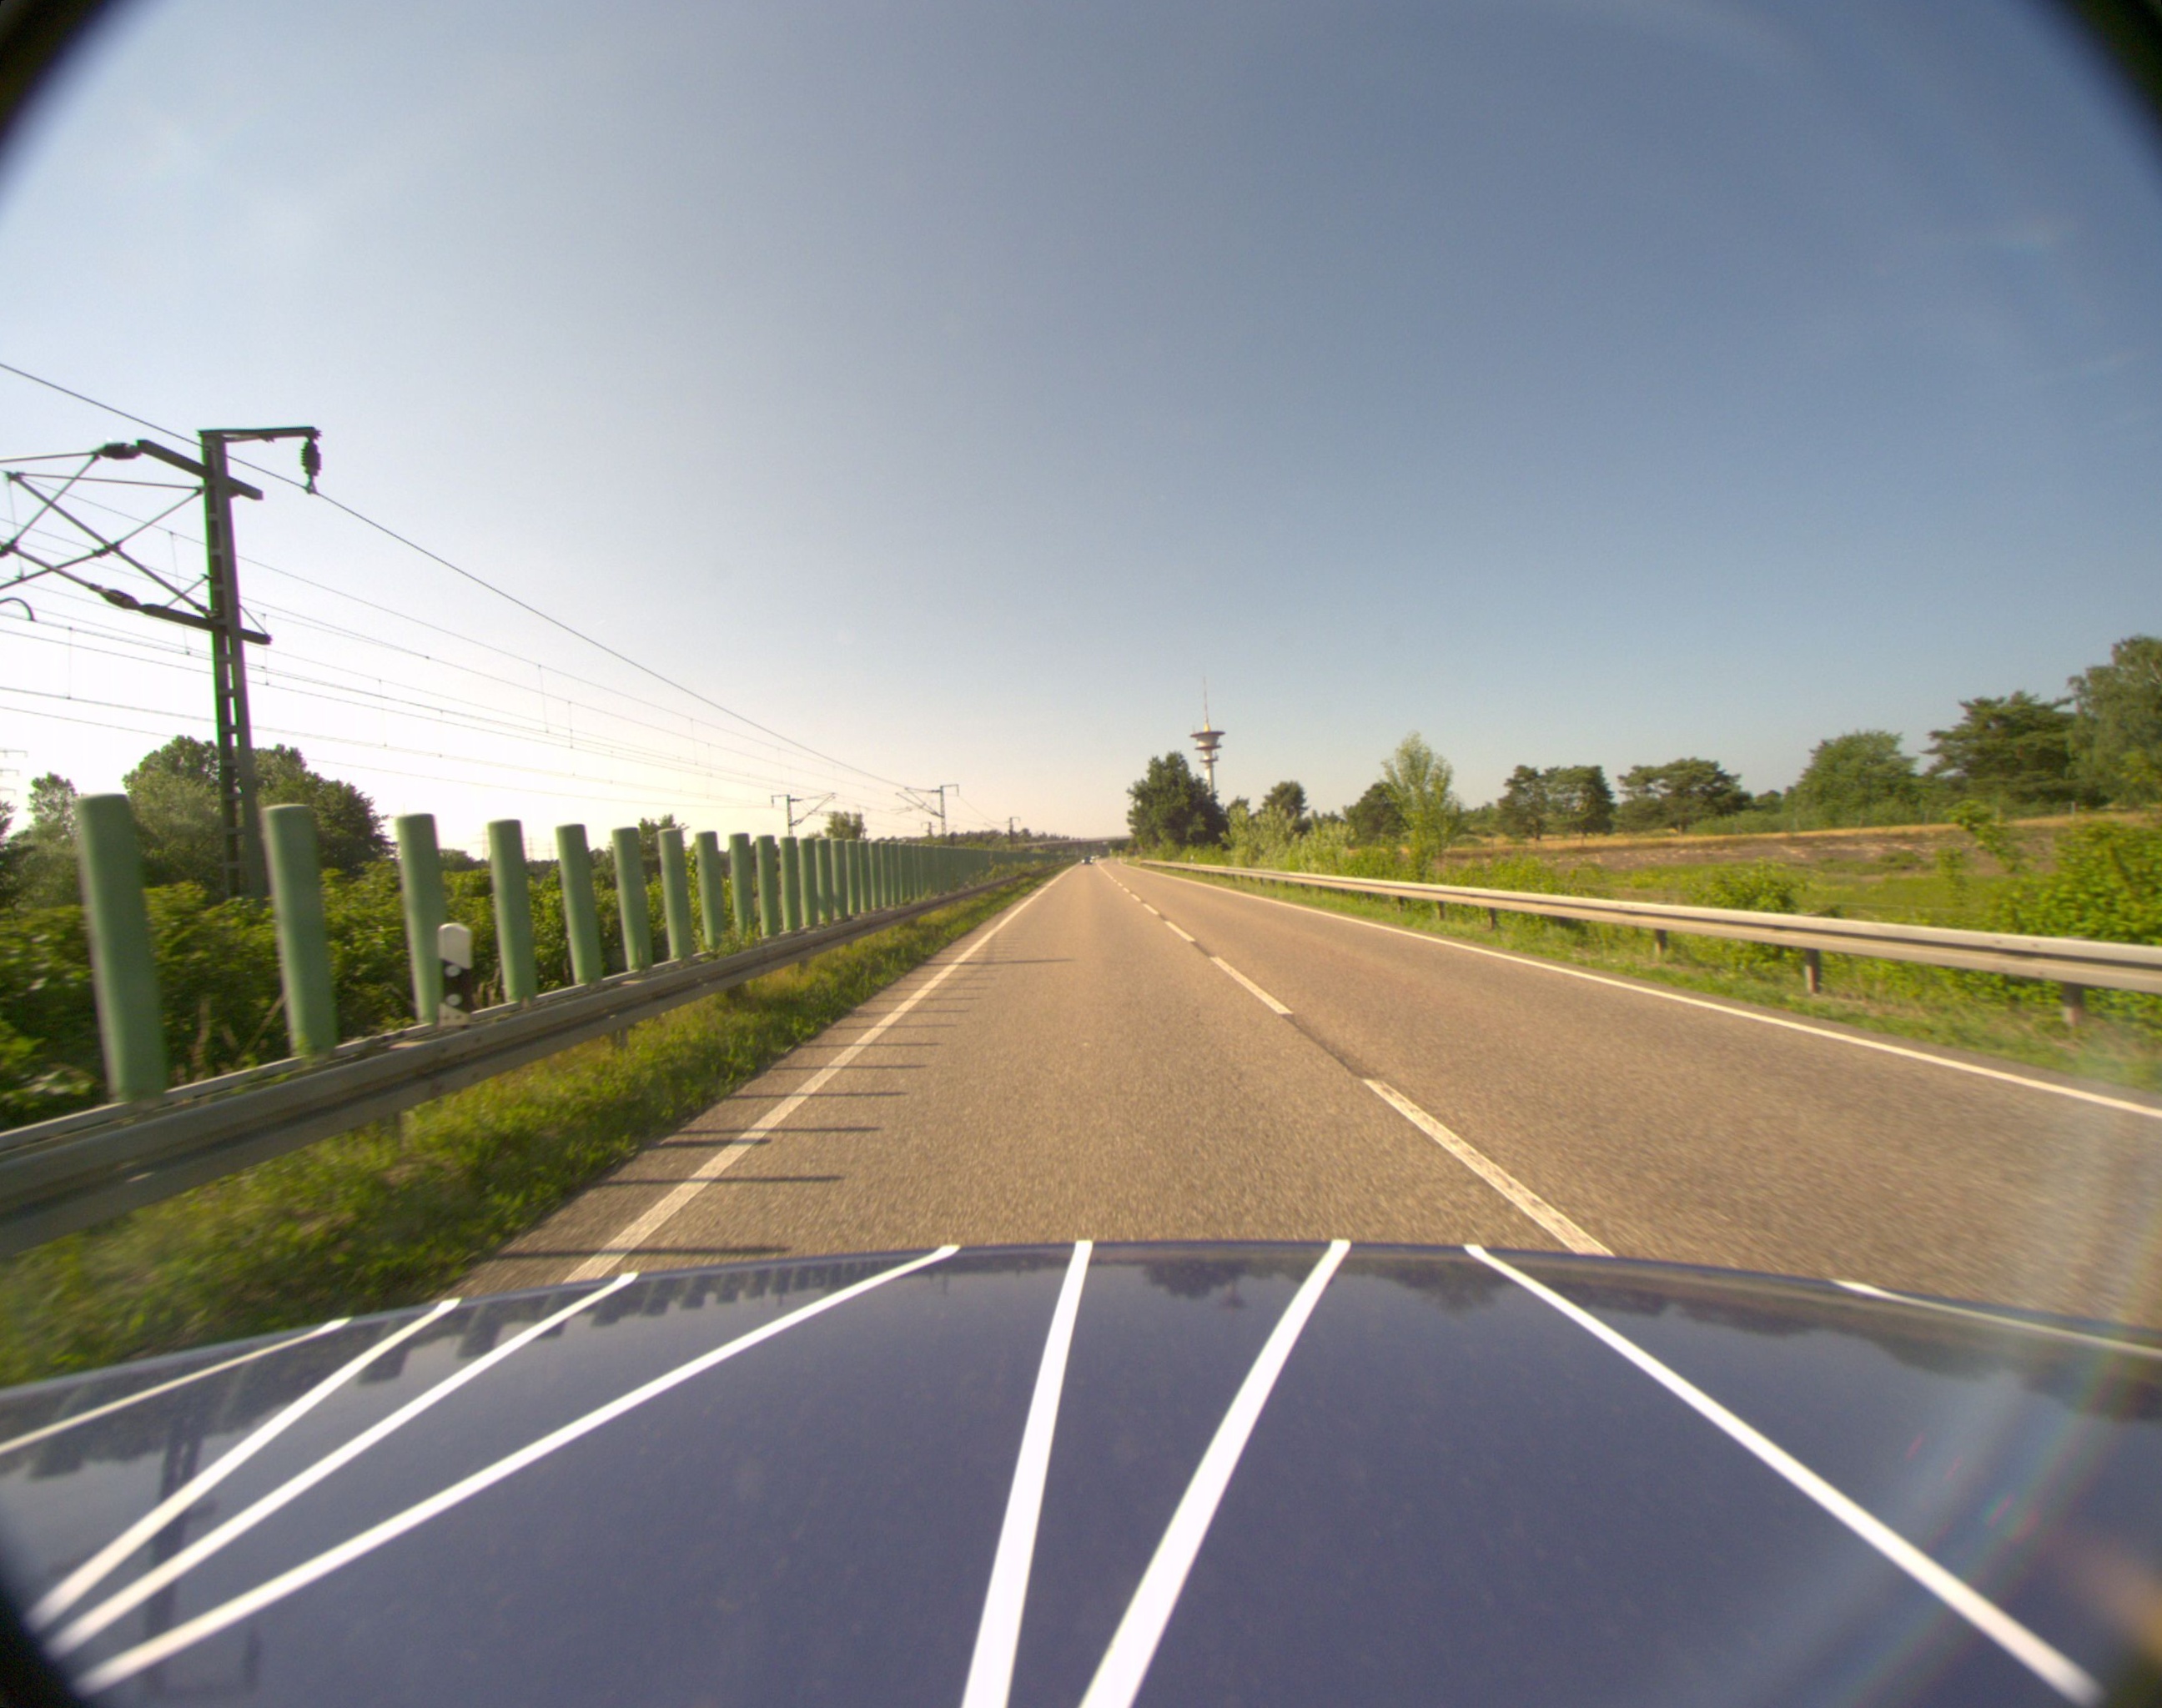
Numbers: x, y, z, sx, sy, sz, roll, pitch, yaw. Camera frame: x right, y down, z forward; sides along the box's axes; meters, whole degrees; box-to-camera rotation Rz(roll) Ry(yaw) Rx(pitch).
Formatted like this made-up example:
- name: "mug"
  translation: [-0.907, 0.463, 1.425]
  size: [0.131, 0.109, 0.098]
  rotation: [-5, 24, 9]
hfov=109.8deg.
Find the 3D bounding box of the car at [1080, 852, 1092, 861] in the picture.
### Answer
- name: "car"
  translation: [0.918, 0.434, 132.984]
  size: [1.868, 1.533, 4.076]
  rotation: [-1, 0, 3]
